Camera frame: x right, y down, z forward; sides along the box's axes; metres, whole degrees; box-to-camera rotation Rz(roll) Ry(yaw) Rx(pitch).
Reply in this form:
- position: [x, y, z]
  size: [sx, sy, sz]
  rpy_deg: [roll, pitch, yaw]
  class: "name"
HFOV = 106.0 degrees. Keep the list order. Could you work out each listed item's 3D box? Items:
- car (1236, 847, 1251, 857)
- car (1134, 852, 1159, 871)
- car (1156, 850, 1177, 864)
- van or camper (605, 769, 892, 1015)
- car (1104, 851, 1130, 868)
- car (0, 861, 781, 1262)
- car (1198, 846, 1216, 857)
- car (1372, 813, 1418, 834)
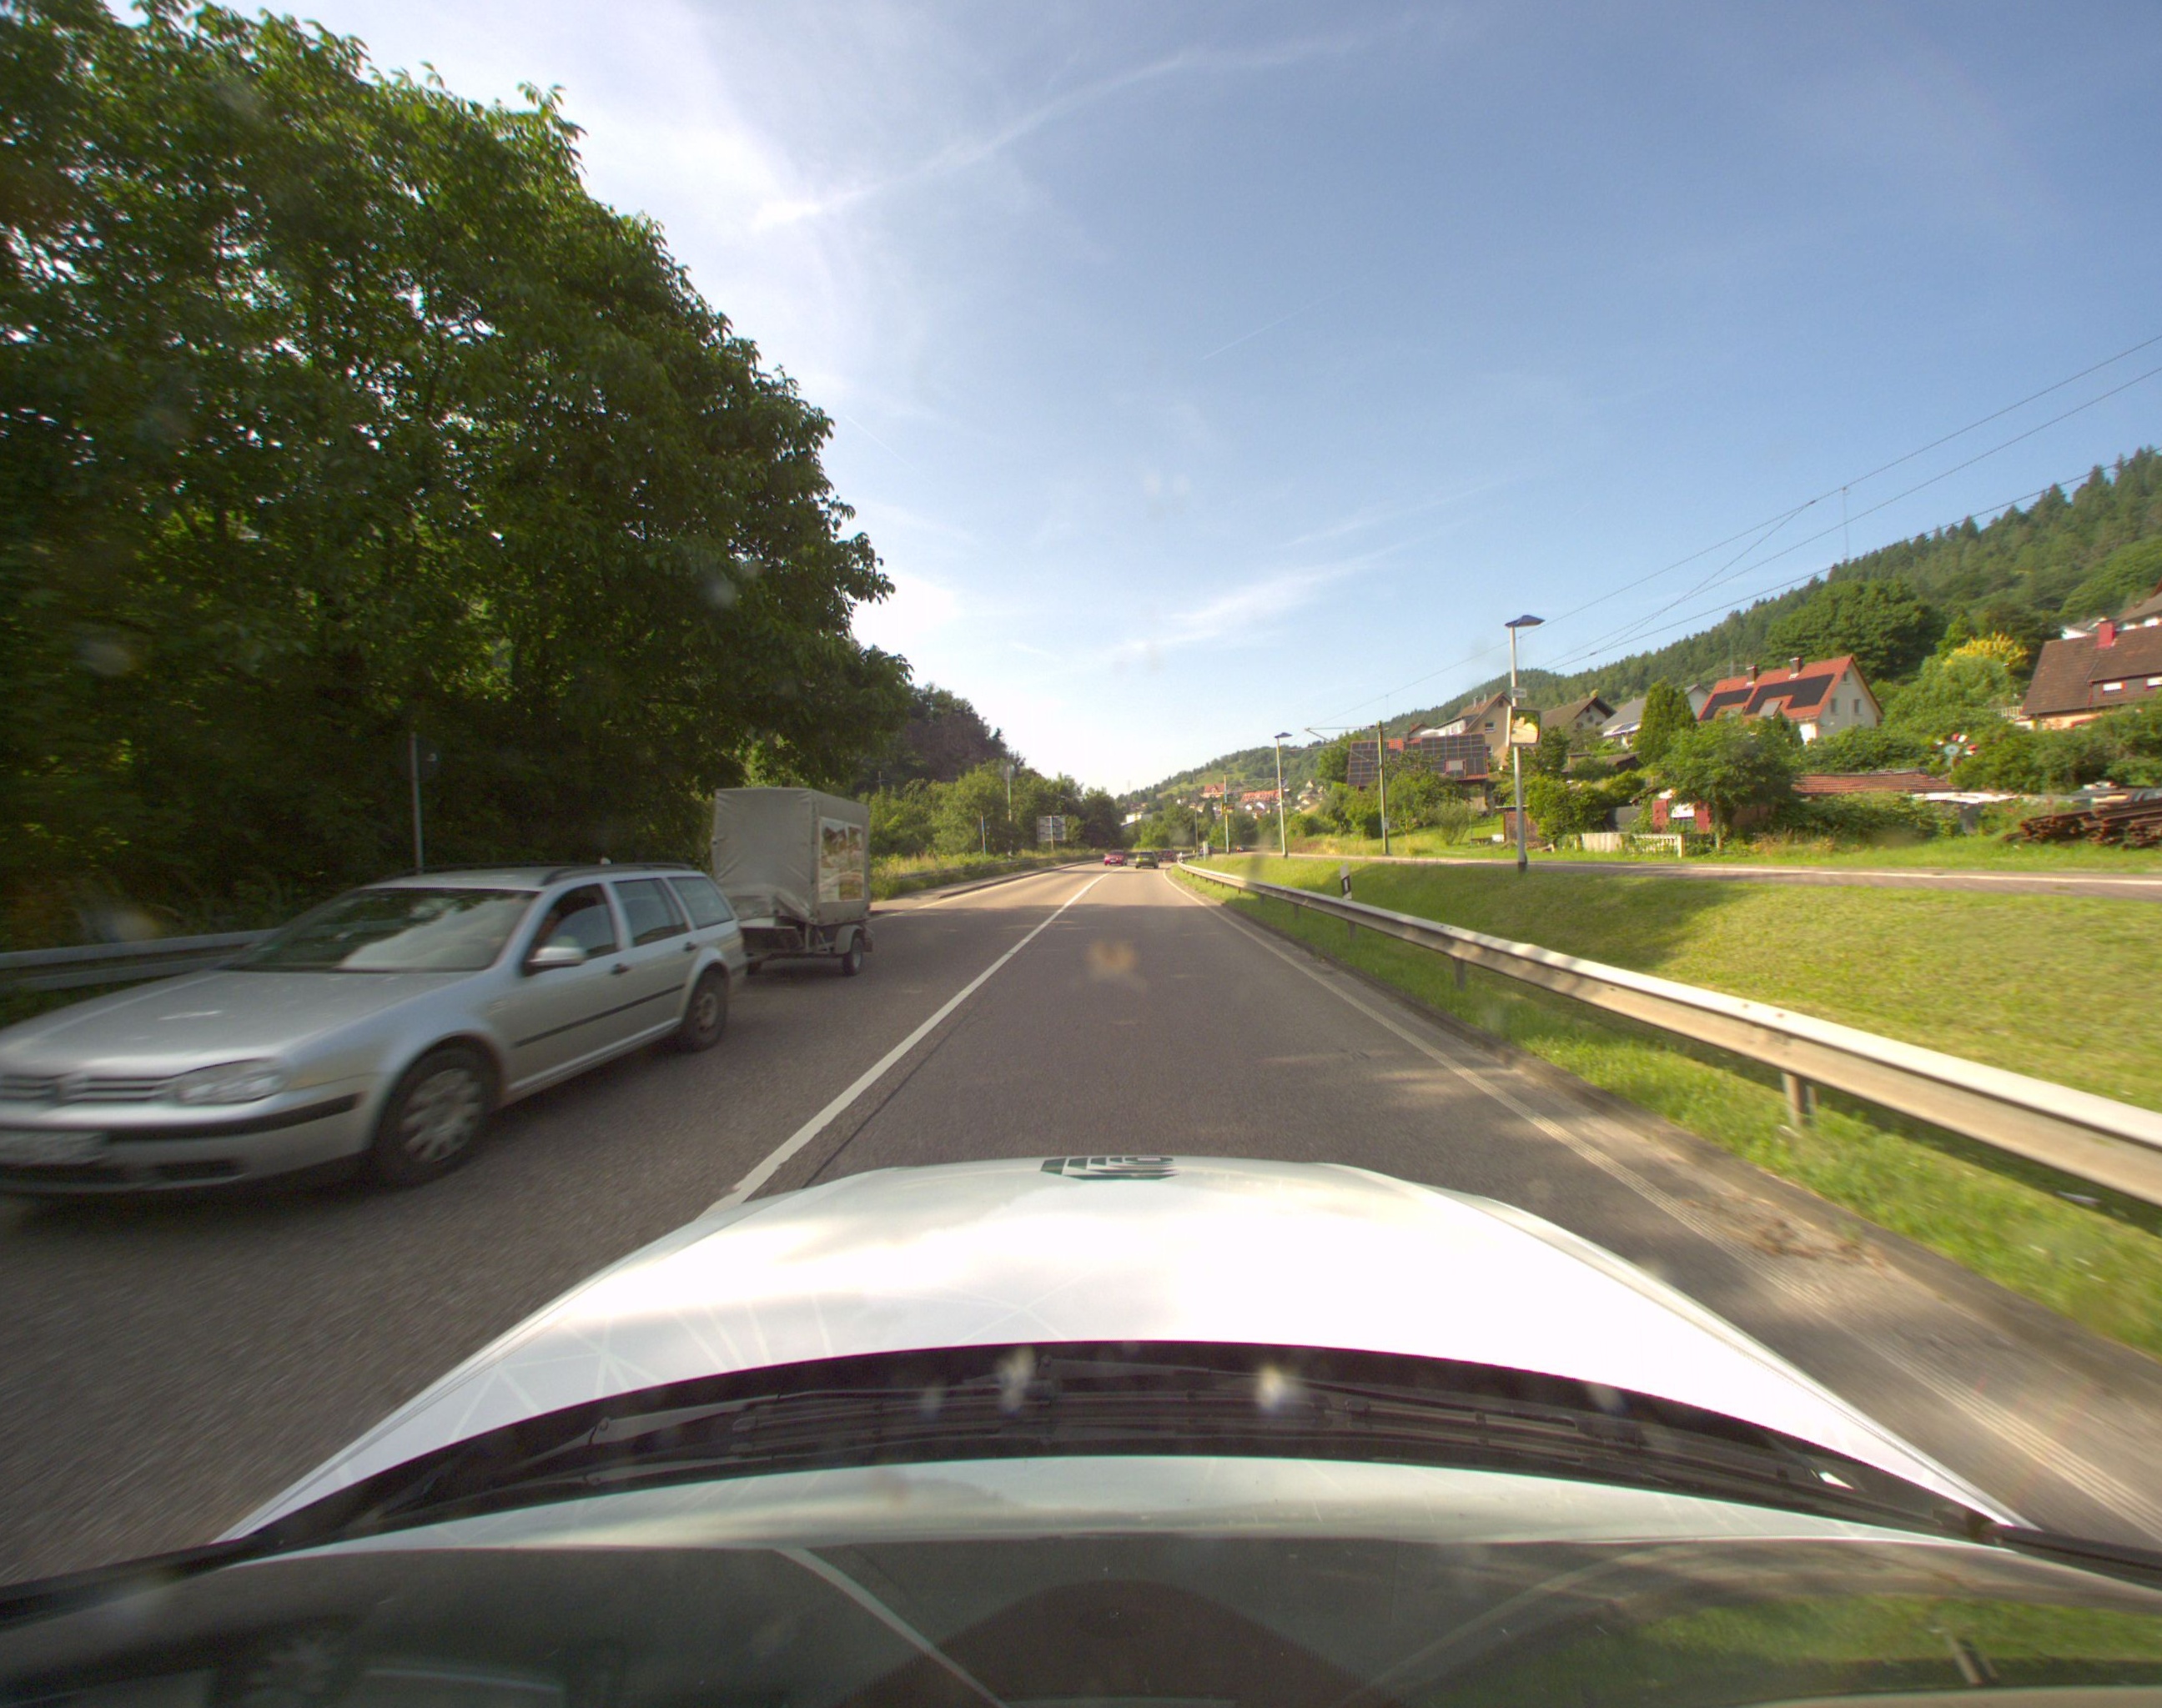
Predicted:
- position: [28.361, -0.358, 142.104]
  size: [1.793, 1.408, 3.794]
  rpy_deg: [-3, 0, 22]
  class: "car"
- position: [5.455, 0.618, 67.712]
  size: [1.718, 1.457, 3.419]
  rpy_deg: [-3, 0, 9]
  class: "car"
- position: [9.405, 0.315, 89.624]
  size: [1.828, 1.459, 3.725]
  rpy_deg: [-3, 0, 12]
  class: "car"
- position: [-3.638, 0.347, 9.761]
  size: [1.596, 2.328, 4.062]
  rpy_deg: [0, 0, 3]
  class: "van or camper"
- position: [3.326, 0.473, 75.185]
  size: [1.831, 1.469, 4.956]
  rpy_deg: [1, 1, 9]
  class: "car"
- position: [-3.749, 0.800, 5.385]
  size: [1.642, 1.436, 4.609]
  rpy_deg: [0, 0, 3]
  class: "car"
- position: [18.421, -0.419, 119.216]
  size: [1.791, 1.453, 3.667]
  rpy_deg: [-3, 0, 21]
  class: "car"
- position: [30.056, -2.902, 77.963]
  size: [3.954, 1.684, 2.010]
  rpy_deg: [-3, 0, 18]
  class: "car"
